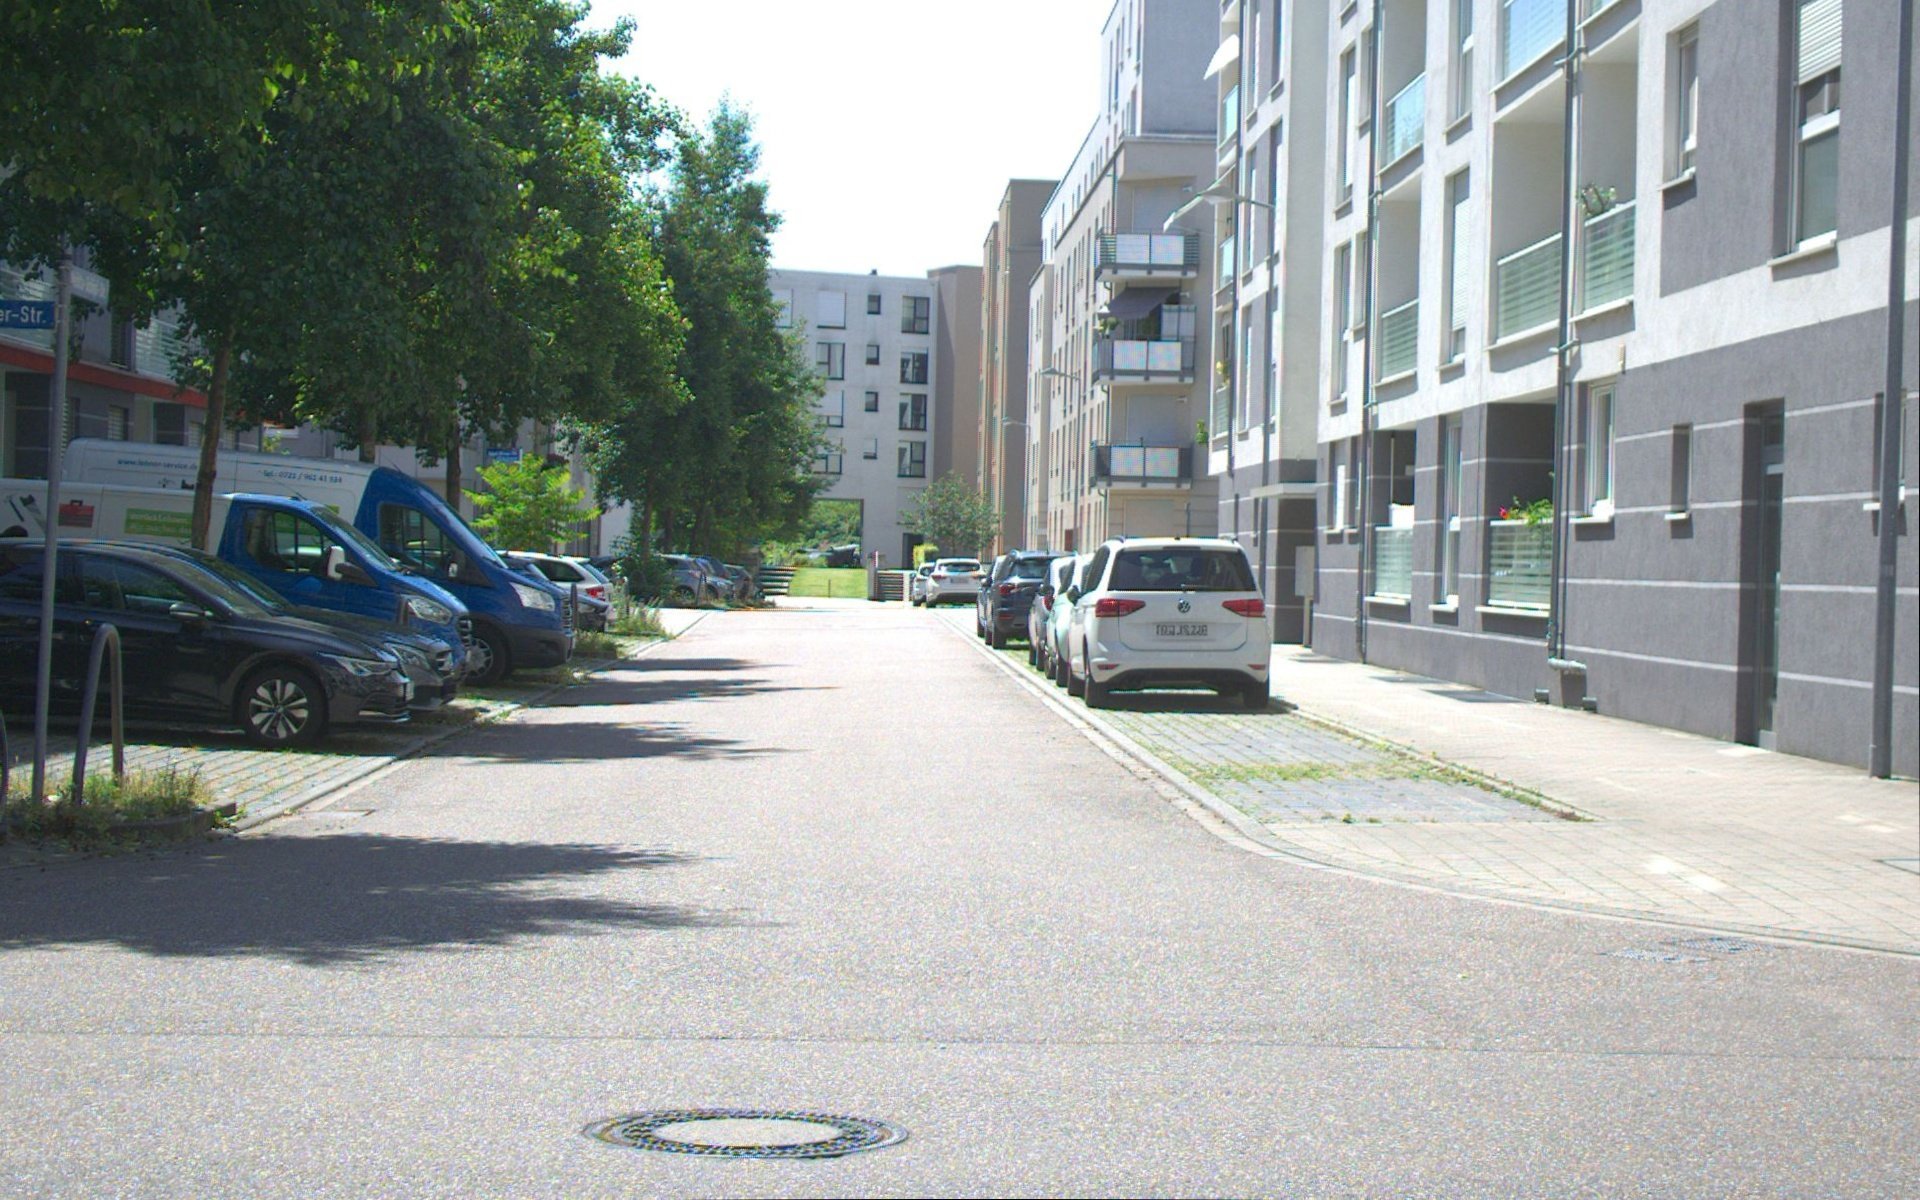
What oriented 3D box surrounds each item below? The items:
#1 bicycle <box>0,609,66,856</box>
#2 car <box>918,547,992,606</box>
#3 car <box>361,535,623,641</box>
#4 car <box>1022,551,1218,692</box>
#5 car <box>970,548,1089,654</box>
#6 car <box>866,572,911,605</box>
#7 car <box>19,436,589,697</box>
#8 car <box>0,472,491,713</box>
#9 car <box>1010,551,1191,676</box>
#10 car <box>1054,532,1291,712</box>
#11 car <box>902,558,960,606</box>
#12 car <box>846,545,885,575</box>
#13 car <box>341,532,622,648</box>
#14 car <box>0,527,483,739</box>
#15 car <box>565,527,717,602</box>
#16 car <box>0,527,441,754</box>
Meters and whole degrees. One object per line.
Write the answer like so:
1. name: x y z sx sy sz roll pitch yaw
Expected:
1. bicycle: -4.820 0.635 16.864 0.466 1.138 1.926 1 1 -4
2. car: -0.175 -0.713 102.730 1.993 1.669 4.001 1 1 -3
3. car: -7.661 -0.211 56.534 3.987 1.612 2.000 1 1 1
4. car: 1.794 0.208 39.795 1.993 1.519 4.000 1 1 -1
5. car: 1.110 -0.015 54.193 1.757 1.547 4.000 2 1 2
6. car: -3.414 -0.557 165.232 1.993 1.514 4.000 1 1 1
7. car: -7.391 -0.390 39.328 6.023 2.806 2.605 1 1 -1
8. car: -7.370 -0.111 33.899 5.144 2.112 2.312 2 1 -1
9. car: 1.773 0.142 44.624 1.993 1.519 4.001 1 1 -3
10. car: 2.037 0.176 34.096 1.997 1.651 4.115 1 1 -1
11. car: -1.105 -0.695 129.950 1.993 1.711 4.001 1 1 -3
12. car: -5.108 -2.173 186.060 1.993 1.514 4.001 1 1 -3
13. car: -7.314 -0.166 52.804 3.987 1.656 2.000 1 1 1
14. car: -6.408 0.249 29.286 4.382 1.536 1.878 3 1 -1
15. car: -9.082 -1.014 98.149 3.988 2.007 2.000 1 1 5
16. car: -6.407 0.256 26.734 4.383 1.509 2.075 3 1 -1
